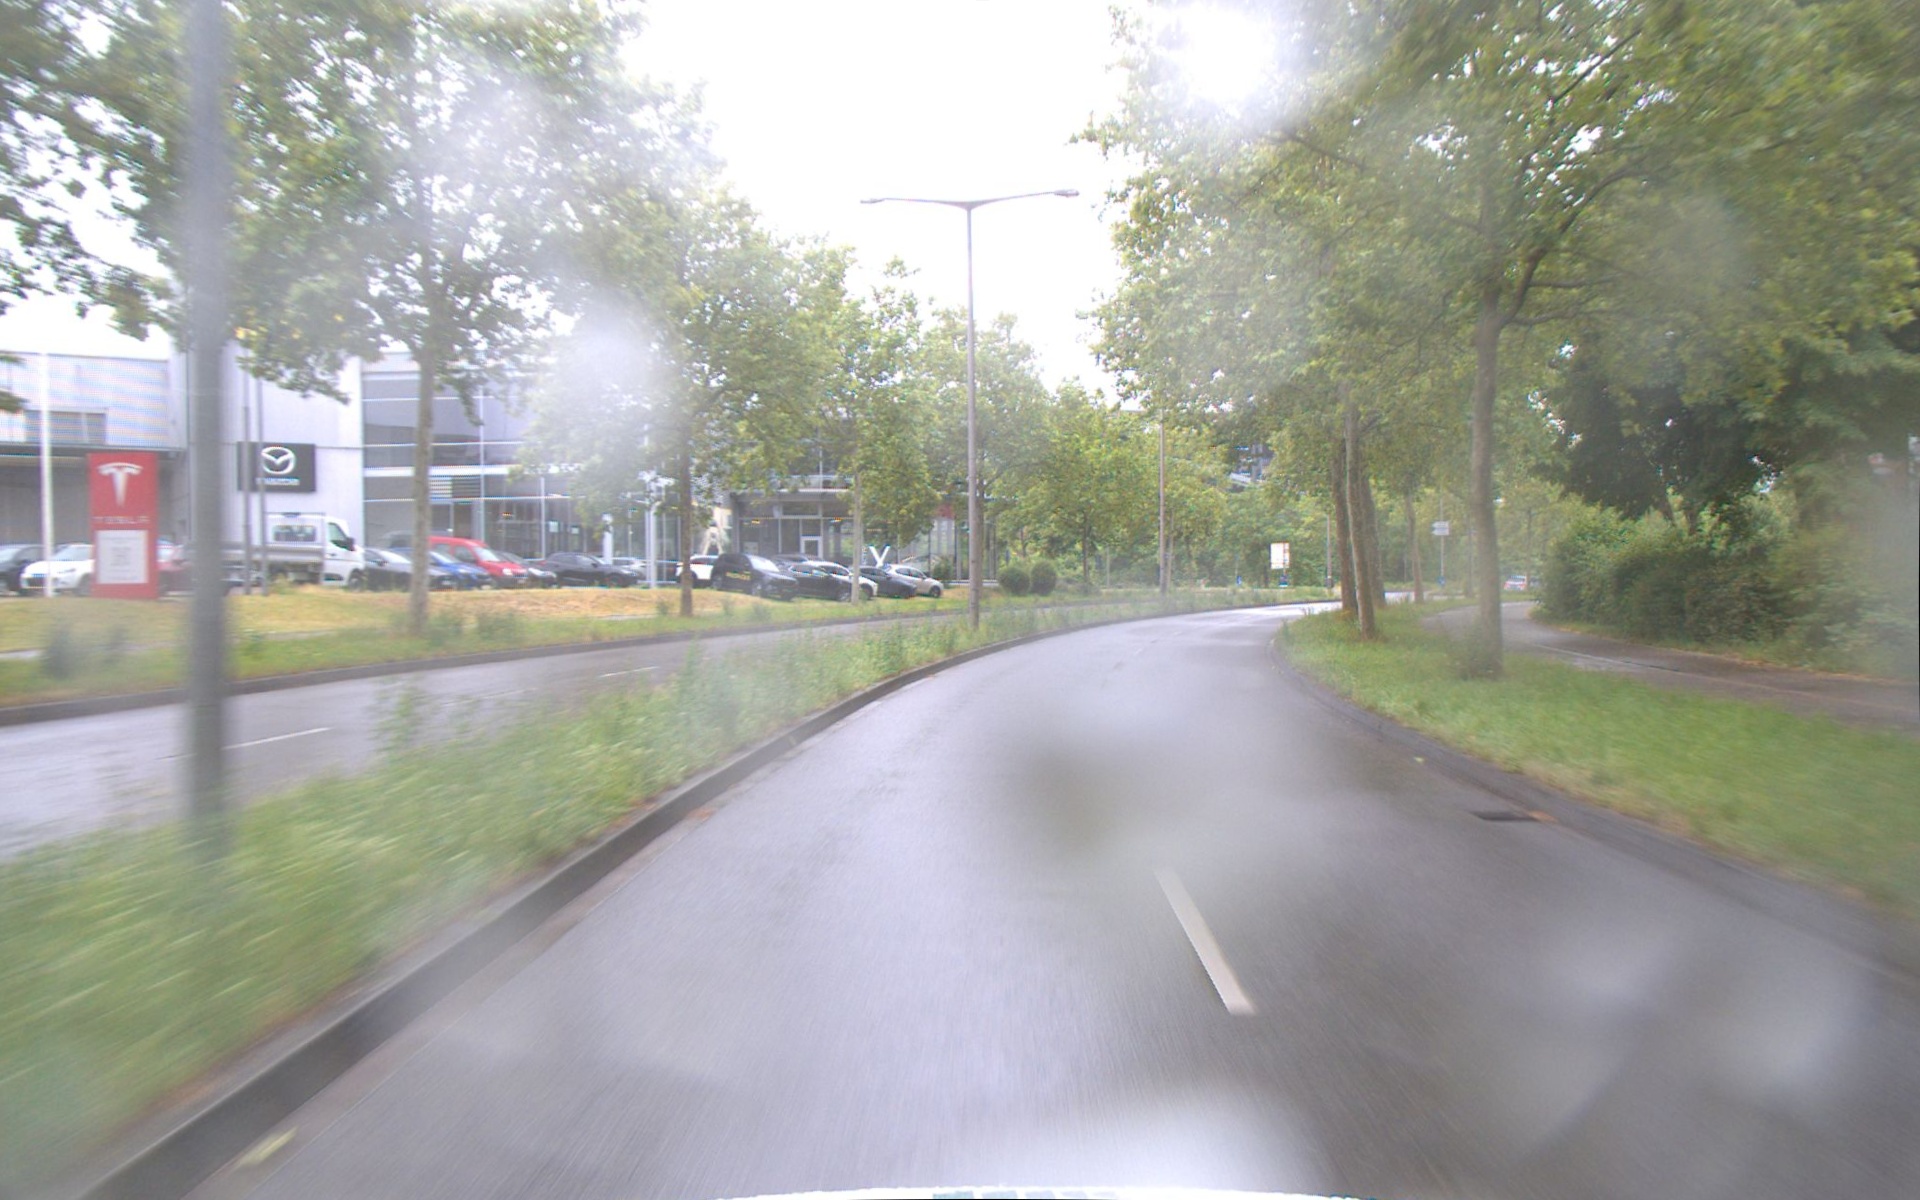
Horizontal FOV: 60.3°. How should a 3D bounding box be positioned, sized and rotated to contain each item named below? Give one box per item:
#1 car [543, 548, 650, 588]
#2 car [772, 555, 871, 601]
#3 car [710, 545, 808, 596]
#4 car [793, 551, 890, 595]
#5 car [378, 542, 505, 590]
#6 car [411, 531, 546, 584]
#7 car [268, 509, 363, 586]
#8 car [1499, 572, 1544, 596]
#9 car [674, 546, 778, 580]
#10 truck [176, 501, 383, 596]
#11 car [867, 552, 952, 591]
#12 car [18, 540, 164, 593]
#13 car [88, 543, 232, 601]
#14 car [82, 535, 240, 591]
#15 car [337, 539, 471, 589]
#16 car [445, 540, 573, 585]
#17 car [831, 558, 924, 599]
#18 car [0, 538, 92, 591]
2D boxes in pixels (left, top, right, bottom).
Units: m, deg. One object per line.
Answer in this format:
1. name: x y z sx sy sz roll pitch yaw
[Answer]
1. car: -14.412 -1.285 65.751 3.919 1.380 1.846 2 3 -6
2. car: -6.265 -1.001 74.710 4.056 1.503 1.839 6 4 -20
3. car: -8.675 -1.286 71.070 1.833 1.582 4.370 4 5 -44
4. car: -5.566 -1.278 77.574 4.069 1.503 1.833 5 4 -28
5. car: -16.657 -1.114 53.224 3.448 1.349 1.770 3 3 12
6. car: -16.229 -1.450 55.824 3.911 1.583 1.849 3 3 12
7. car: -25.004 -2.043 64.024 2.147 2.800 5.271 1 1 -36
8. car: 40.691 -1.186 119.817 1.752 1.582 3.981 2 3 39
9. car: -10.743 -1.684 75.959 4.327 1.499 1.922 1 1 9
10. truck: -19.021 -1.473 46.637 2.199 2.384 6.201 3 3 12
11. car: -2.587 -1.450 85.342 3.949 1.500 1.767 5 4 -33
12. car: -24.988 -0.997 47.726 1.725 1.421 4.161 1 2 6
13. car: -22.441 -0.813 46.571 1.725 1.492 4.161 1 2 6
14. car: -27.572 -1.278 57.138 4.609 1.795 1.795 1 1 -40
15. car: -17.118 -1.132 50.973 3.448 1.349 1.770 3 3 12
16. car: -16.005 -1.346 58.751 3.911 1.380 1.849 3 3 12
17. car: -4.039 -1.071 81.239 4.063 1.446 1.836 6 4 -24
18. car: -27.283 -1.067 47.960 1.725 1.421 4.161 1 2 6
